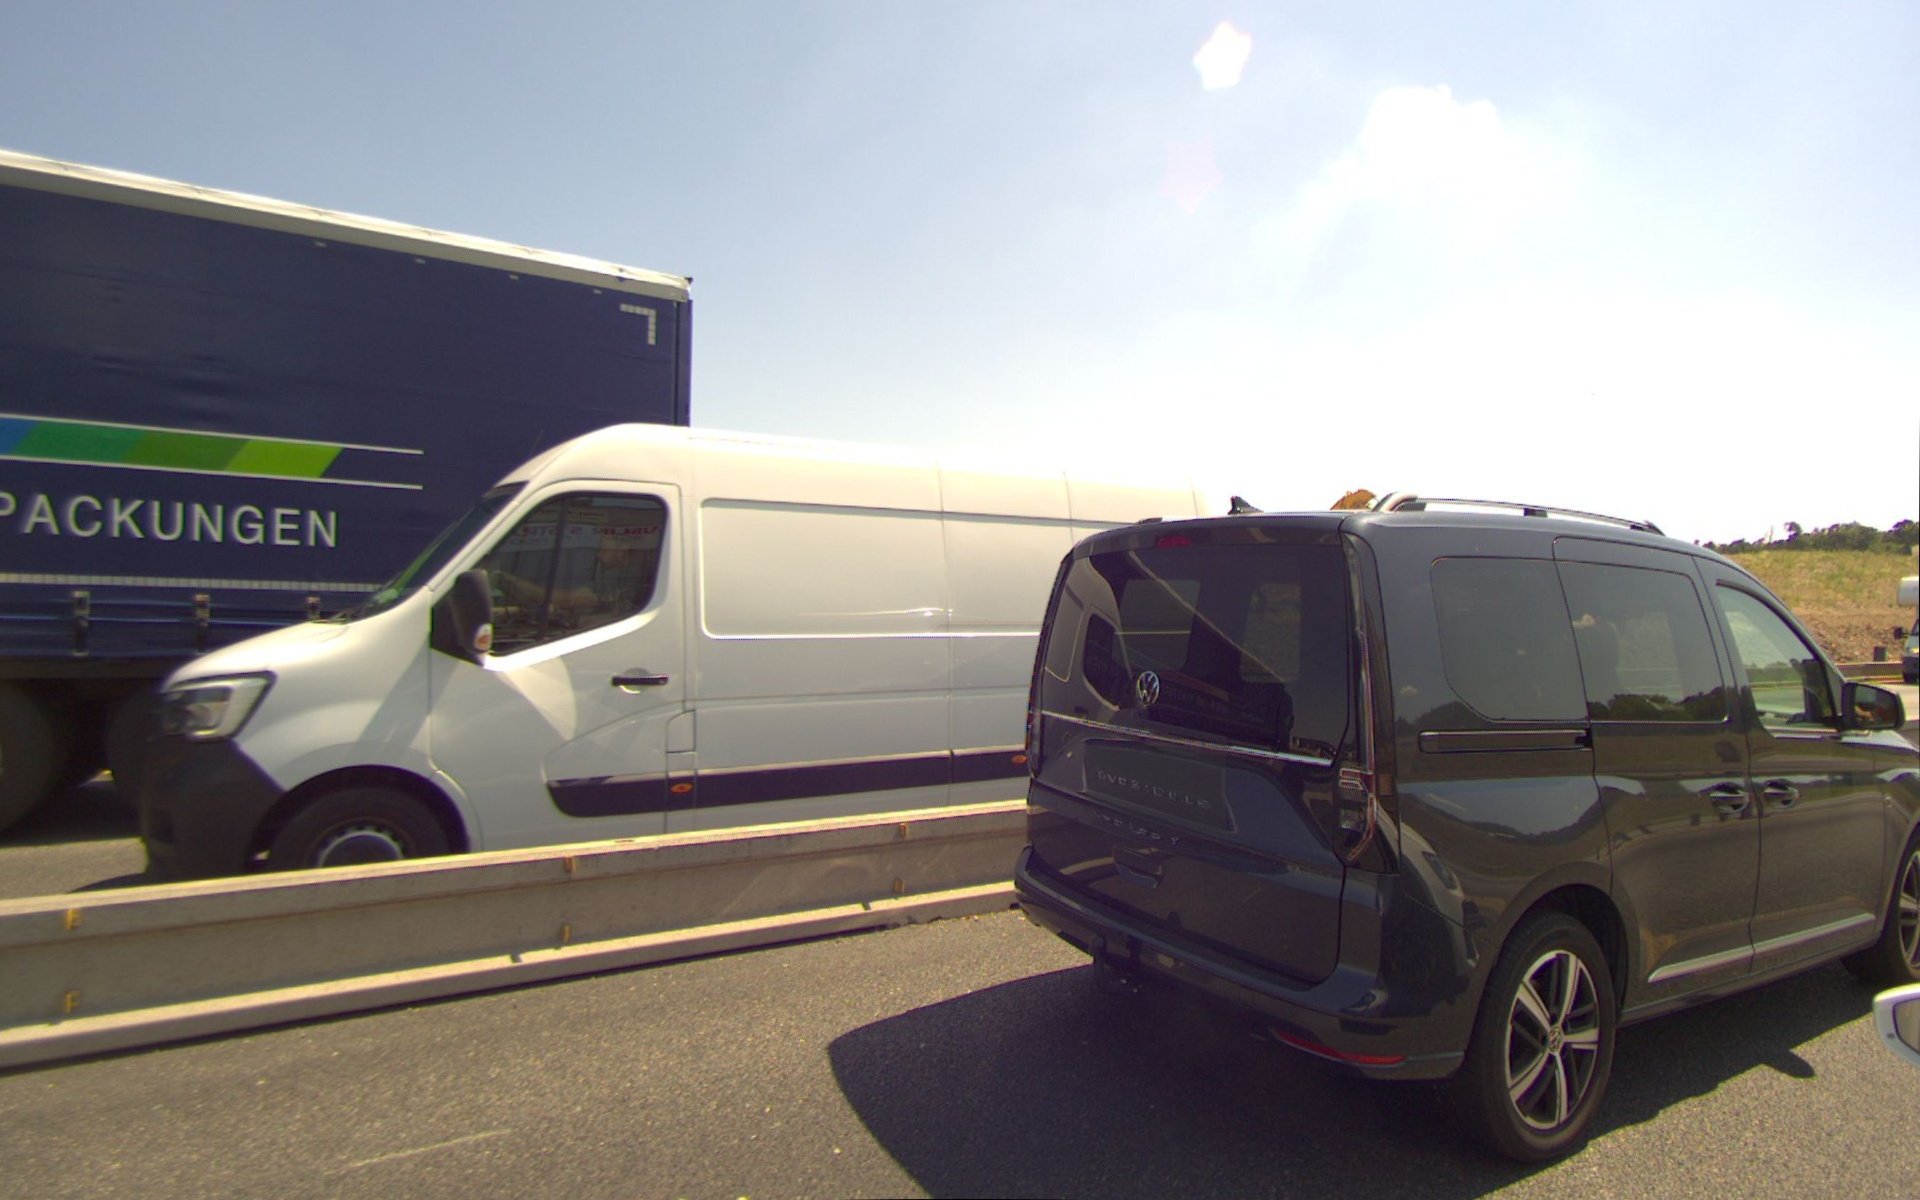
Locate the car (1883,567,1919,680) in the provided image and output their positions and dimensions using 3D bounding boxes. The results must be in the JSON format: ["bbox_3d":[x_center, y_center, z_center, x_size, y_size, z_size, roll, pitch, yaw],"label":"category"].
[{"bbox_3d":[28.100,0.718,27.734,5.780,2.995,2.240,2,0,-30],"label":"car"}]

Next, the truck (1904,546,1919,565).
[{"bbox_3d":[161.303,-7.531,167.953,2.317,2.937,8.362,2,0,24],"label":"truck"}]

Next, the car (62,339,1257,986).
[{"bbox_3d":[-1.144,0.255,6.118,6.122,2.375,2.025,1,0,-30],"label":"car"}]

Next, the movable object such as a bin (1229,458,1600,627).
[{"bbox_3d":[21.225,-2.431,49.787,3.348,6.863,18.136,2,0,-29],"label":"movable object such as a bin"}]

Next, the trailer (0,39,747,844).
[{"bbox_3d":[-7.982,-0.979,6.123,12.733,4.657,2.971,2,0,-30],"label":"trailer"}]

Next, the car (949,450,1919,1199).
[{"bbox_3d":[2.436,0.613,4.151,4.726,1.849,1.743,1,0,-30],"label":"car"}]
